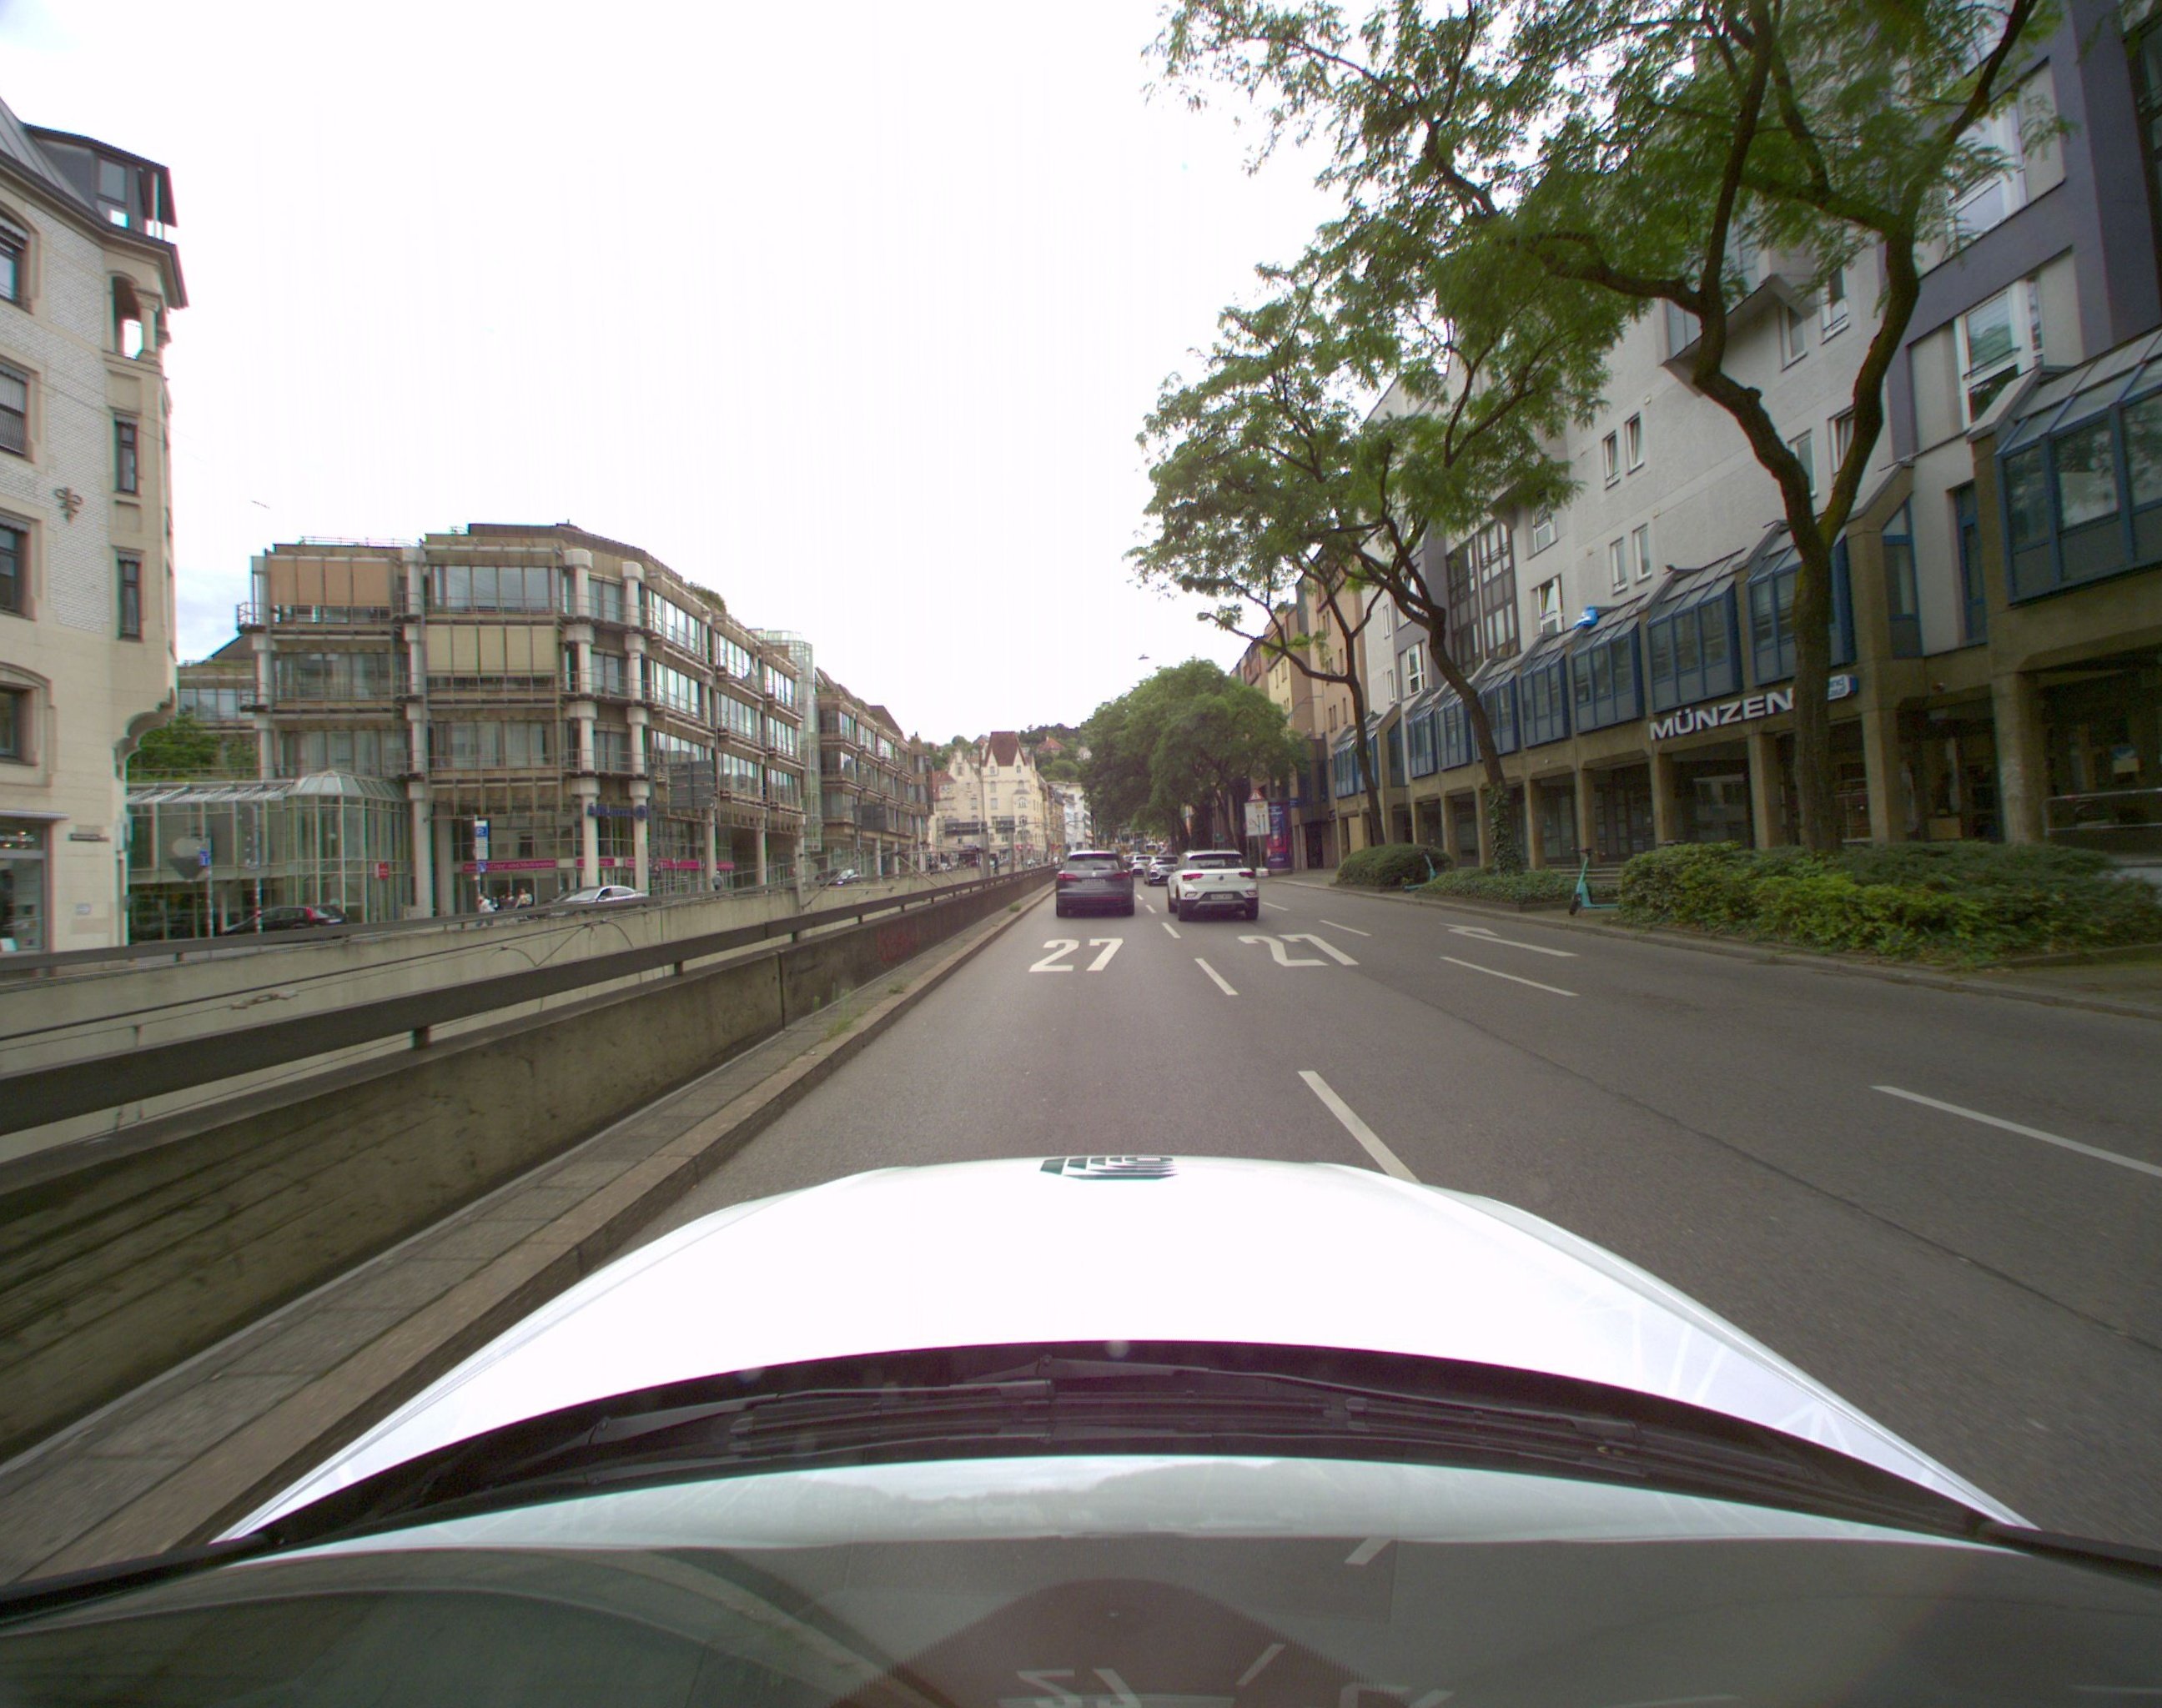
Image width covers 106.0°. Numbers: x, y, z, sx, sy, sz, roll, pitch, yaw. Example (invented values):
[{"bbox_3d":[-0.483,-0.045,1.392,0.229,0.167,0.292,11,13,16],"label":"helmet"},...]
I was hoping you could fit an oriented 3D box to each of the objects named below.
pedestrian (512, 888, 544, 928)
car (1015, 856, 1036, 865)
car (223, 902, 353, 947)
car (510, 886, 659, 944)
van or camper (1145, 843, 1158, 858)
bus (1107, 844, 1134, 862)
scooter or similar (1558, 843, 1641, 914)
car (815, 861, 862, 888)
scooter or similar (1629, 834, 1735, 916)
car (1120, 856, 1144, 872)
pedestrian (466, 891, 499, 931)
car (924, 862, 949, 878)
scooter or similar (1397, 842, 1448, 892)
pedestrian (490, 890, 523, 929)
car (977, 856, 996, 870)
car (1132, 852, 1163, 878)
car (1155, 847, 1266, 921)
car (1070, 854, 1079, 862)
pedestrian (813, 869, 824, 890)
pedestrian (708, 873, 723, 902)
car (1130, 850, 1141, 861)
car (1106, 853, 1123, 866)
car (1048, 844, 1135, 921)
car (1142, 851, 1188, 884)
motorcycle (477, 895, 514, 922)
[{"bbox_3d":[-22.927,2.228,33.776,0.699,1.544,0.845,-3,0,-7],"label":"pedestrian"},{"bbox_3d":[-10.833,1.269,159.421,3.987,1.647,1.818,-3,0,-10],"label":"car"},{"bbox_3d":[-31.396,2.765,32.309,3.434,1.436,1.650,-3,0,0],"label":"car"},{"bbox_3d":[-17.417,2.081,28.905,1.985,1.585,4.892,-3,0,4],"label":"car"},{"bbox_3d":[15.778,-0.722,181.506,2.614,3.178,5.813,-3,0,6],"label":"van or camper"},{"bbox_3d":[8.601,-0.282,176.163,3.827,3.532,17.289,-3,0,9],"label":"bus"},{"bbox_3d":[9.272,0.439,14.586,1.100,1.181,0.429,-5,0,11],"label":"scooter or similar"},{"bbox_3d":[-17.660,1.492,59.479,1.986,1.767,4.281,-3,0,1],"label":"car"},{"bbox_3d":[10.177,0.352,13.821,1.191,1.268,0.725,-4,0,1],"label":"scooter or similar"},{"bbox_3d":[4.775,0.912,76.685,1.828,1.363,3.763,-4,0,-3],"label":"car"},{"bbox_3d":[-24.534,2.328,33.408,0.699,1.544,0.845,-3,0,-7],"label":"pedestrian"},{"bbox_3d":[-17.072,1.859,96.249,1.986,1.767,4.281,-3,0,1],"label":"car"},{"bbox_3d":[9.593,0.363,22.876,1.154,1.285,0.427,-5,-1,10],"label":"scooter or similar"},{"bbox_3d":[-23.710,2.276,33.625,0.699,1.544,0.845,-3,0,-7],"label":"pedestrian"},{"bbox_3d":[-13.314,1.214,114.637,1.986,1.767,4.001,-3,0,1],"label":"car"},{"bbox_3d":[4.432,0.718,54.548,1.825,1.517,3.769,-4,0,2],"label":"car"},{"bbox_3d":[2.922,0.648,19.223,1.793,1.545,3.931,-1,0,-3],"label":"car"},{"bbox_3d":[-1.486,0.959,185.330,1.814,1.647,3.996,-3,0,-2],"label":"car"},{"bbox_3d":[-24.163,2.348,74.911,0.773,1.824,0.711,-3,0,-9],"label":"pedestrian"},{"bbox_3d":[-22.863,2.088,50.986,0.530,1.793,0.695,-3,0,2],"label":"pedestrian"},{"bbox_3d":[9.858,0.222,147.896,1.825,1.874,4.874,-4,0,3],"label":"car"},{"bbox_3d":[4.446,0.737,108.447,1.822,1.567,3.774,-4,0,7],"label":"car"},{"bbox_3d":[0.247,0.646,21.453,1.964,1.695,4.224,-4,1,0],"label":"car"},{"bbox_3d":[3.919,0.669,38.654,1.827,1.432,4.148,-2,-2,1],"label":"car"},{"bbox_3d":[-30.673,2.858,42.722,0.792,1.257,1.931,-3,0,-11],"label":"motorcycle"}]
